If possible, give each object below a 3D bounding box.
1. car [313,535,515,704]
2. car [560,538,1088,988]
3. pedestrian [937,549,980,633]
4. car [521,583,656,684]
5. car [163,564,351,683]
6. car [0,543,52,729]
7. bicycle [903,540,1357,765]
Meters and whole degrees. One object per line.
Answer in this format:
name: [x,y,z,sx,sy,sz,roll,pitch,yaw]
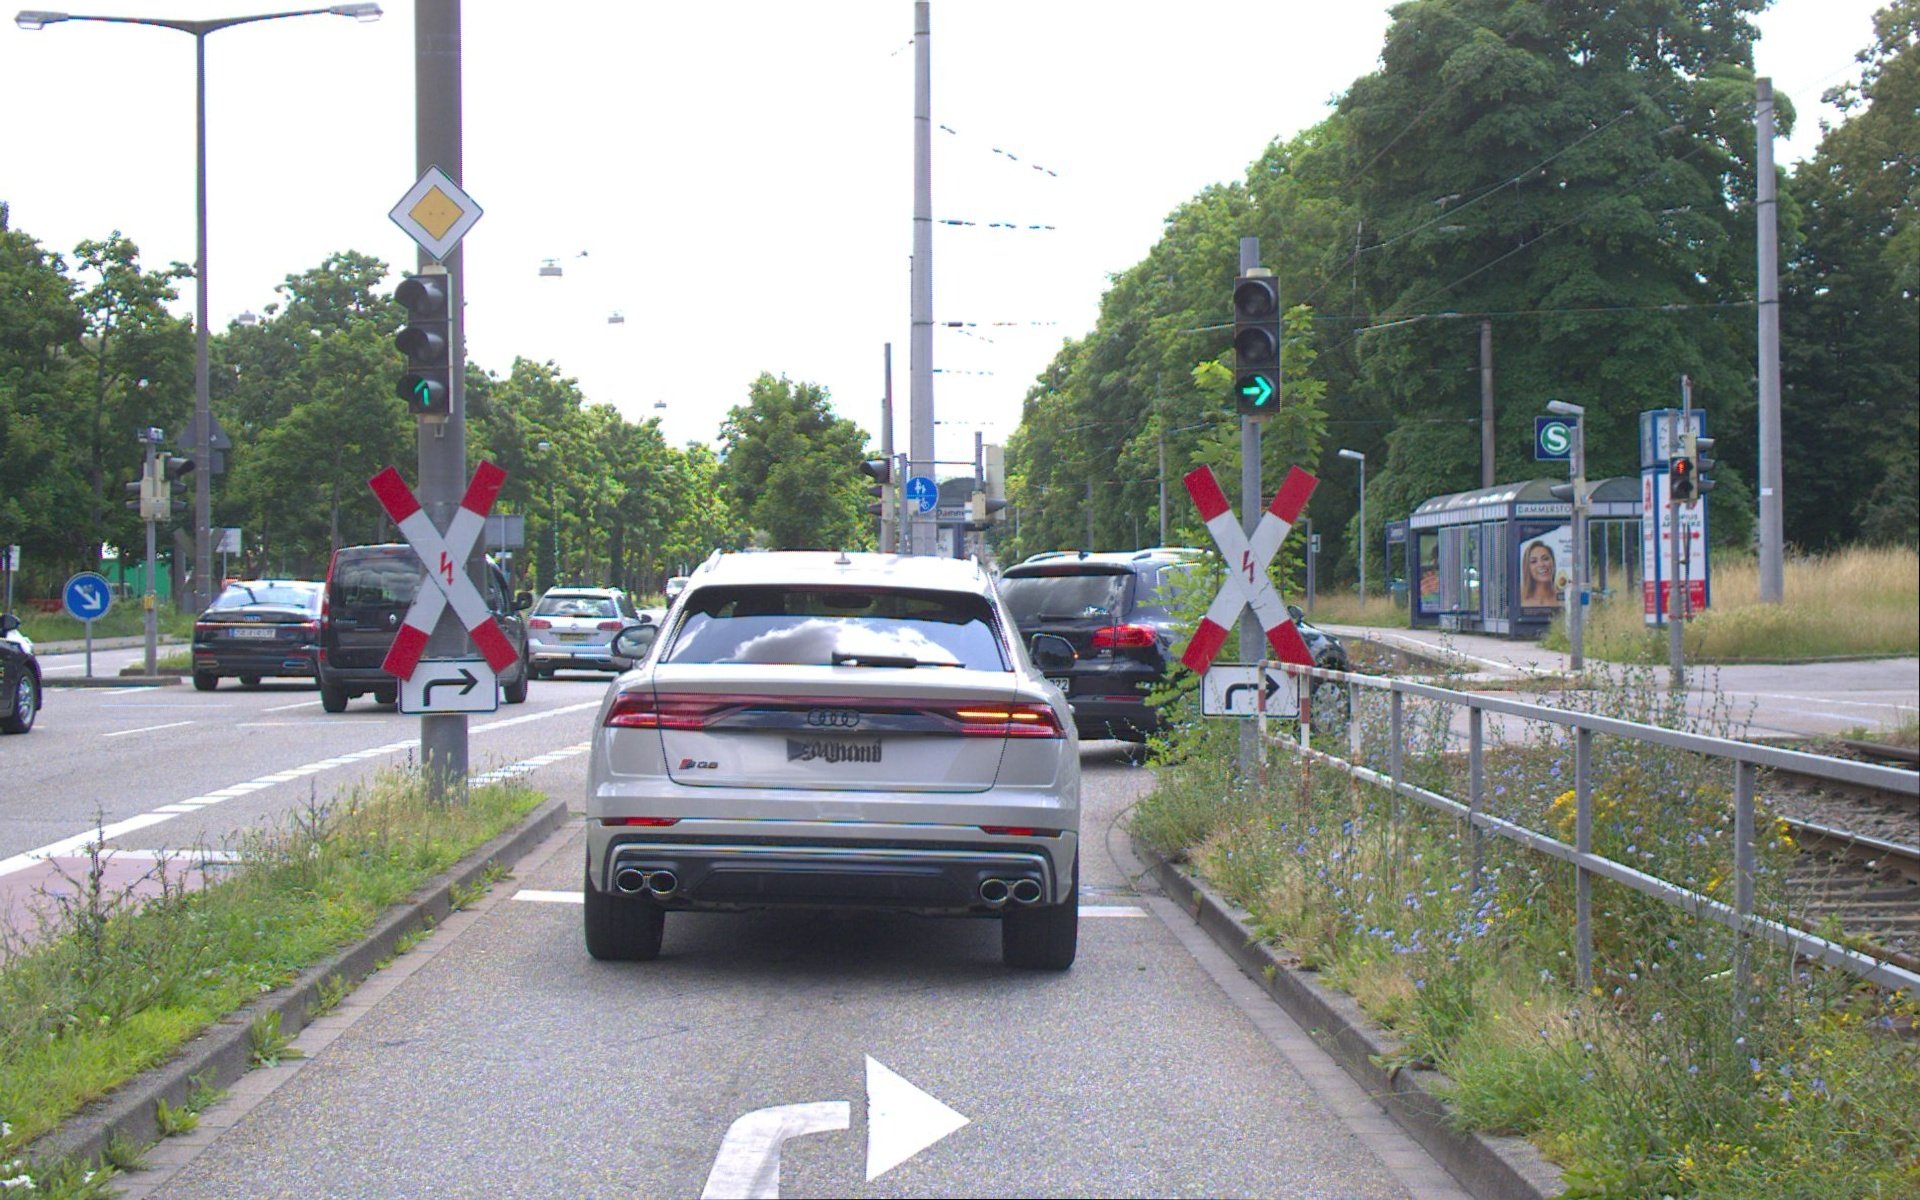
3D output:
car: [-6.055,0.202,38.469,1.759,1.771,3.909,1,0,-2]
car: [-0.526,0.614,15.312,1.981,1.678,4.574,1,0,0]
pedestrian: [-0.028,-0.170,62.568,0.653,1.508,0.718,-1,0,-9]
car: [-5.897,0.512,55.007,1.785,1.520,4.301,1,0,-1]
car: [-9.348,0.291,45.976,1.864,1.499,4.000,1,0,-3]
car: [-9.497,0.312,30.179,1.786,1.662,4.340,1,0,2]
bicycle: [1.466,0.372,27.867,1.997,1.669,4.201,0,0,29]
